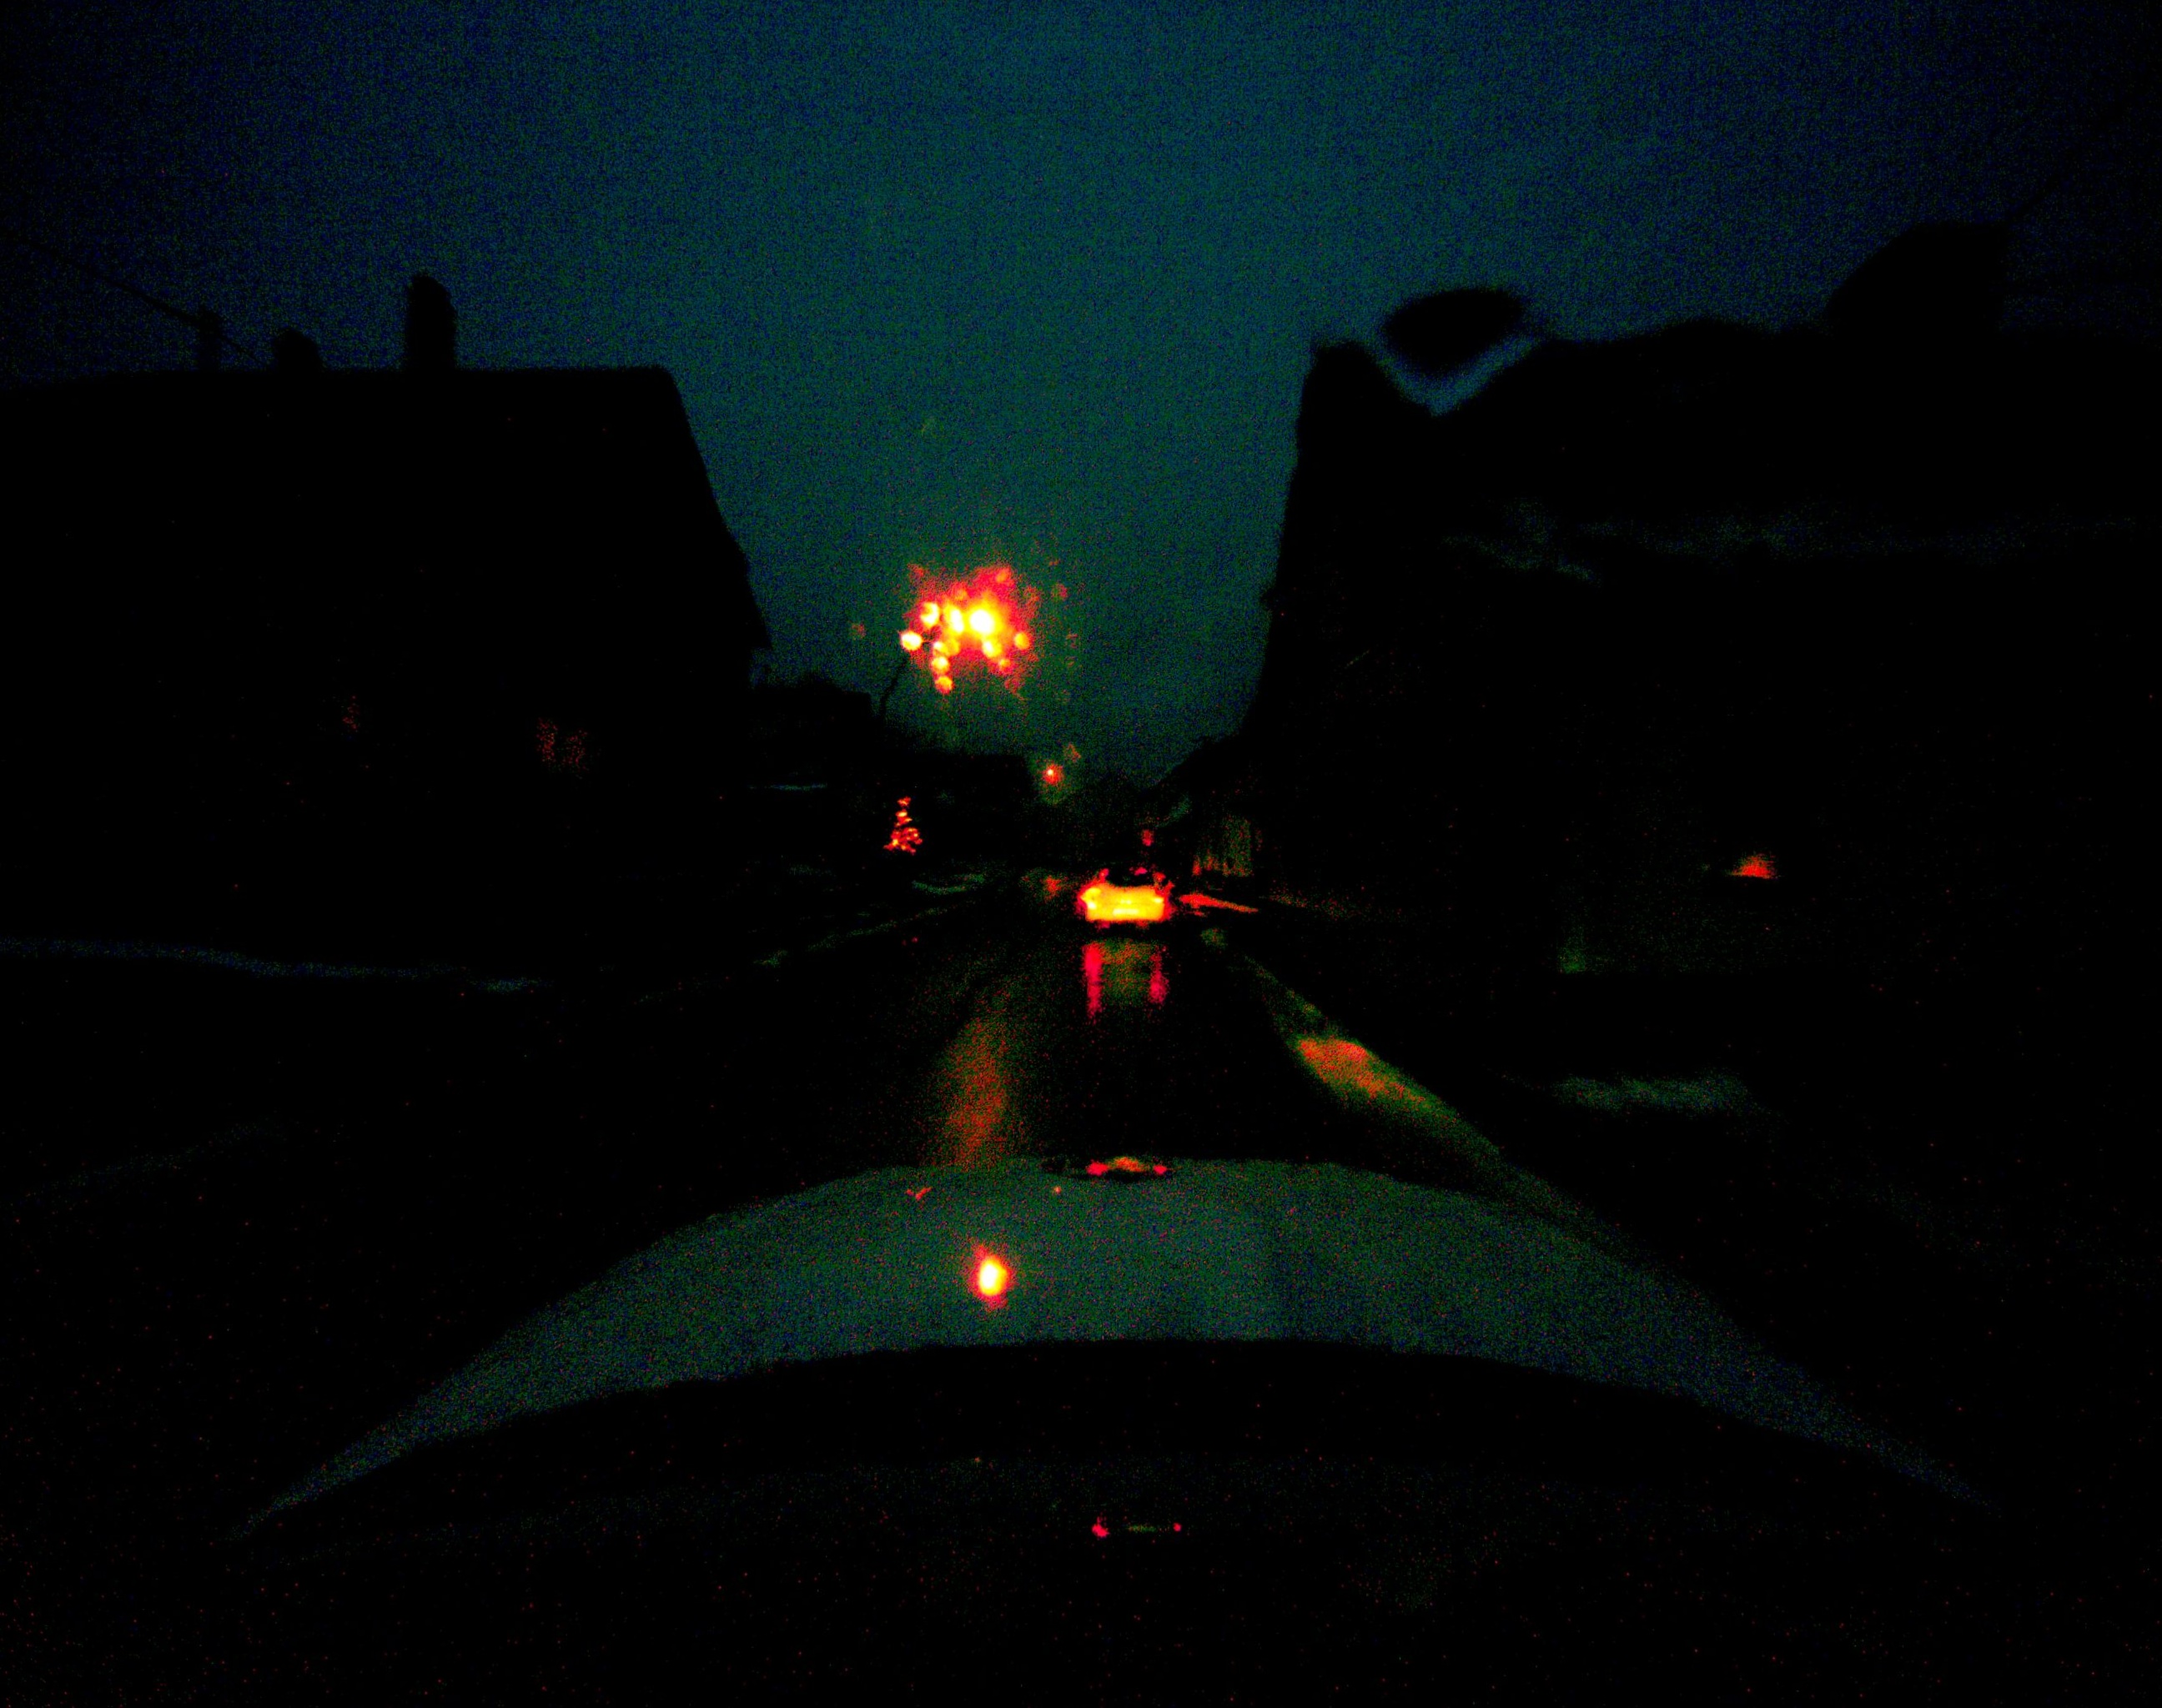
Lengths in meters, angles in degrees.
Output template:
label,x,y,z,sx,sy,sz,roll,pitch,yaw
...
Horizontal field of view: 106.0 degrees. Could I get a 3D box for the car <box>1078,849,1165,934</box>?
label,x,y,z,sx,sy,sz,roll,pitch,yaw
car,0.850,0.755,17.492,1.639,1.596,3.701,2,-1,2

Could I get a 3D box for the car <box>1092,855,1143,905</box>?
label,x,y,z,sx,sy,sz,roll,pitch,yaw
car,1.253,0.897,28.639,1.639,1.596,3.700,2,-1,1

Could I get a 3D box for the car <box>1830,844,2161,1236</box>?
label,x,y,z,sx,sy,sz,roll,pitch,yaw
car,6.026,0.718,3.395,4.159,1.433,1.900,1,0,-2
